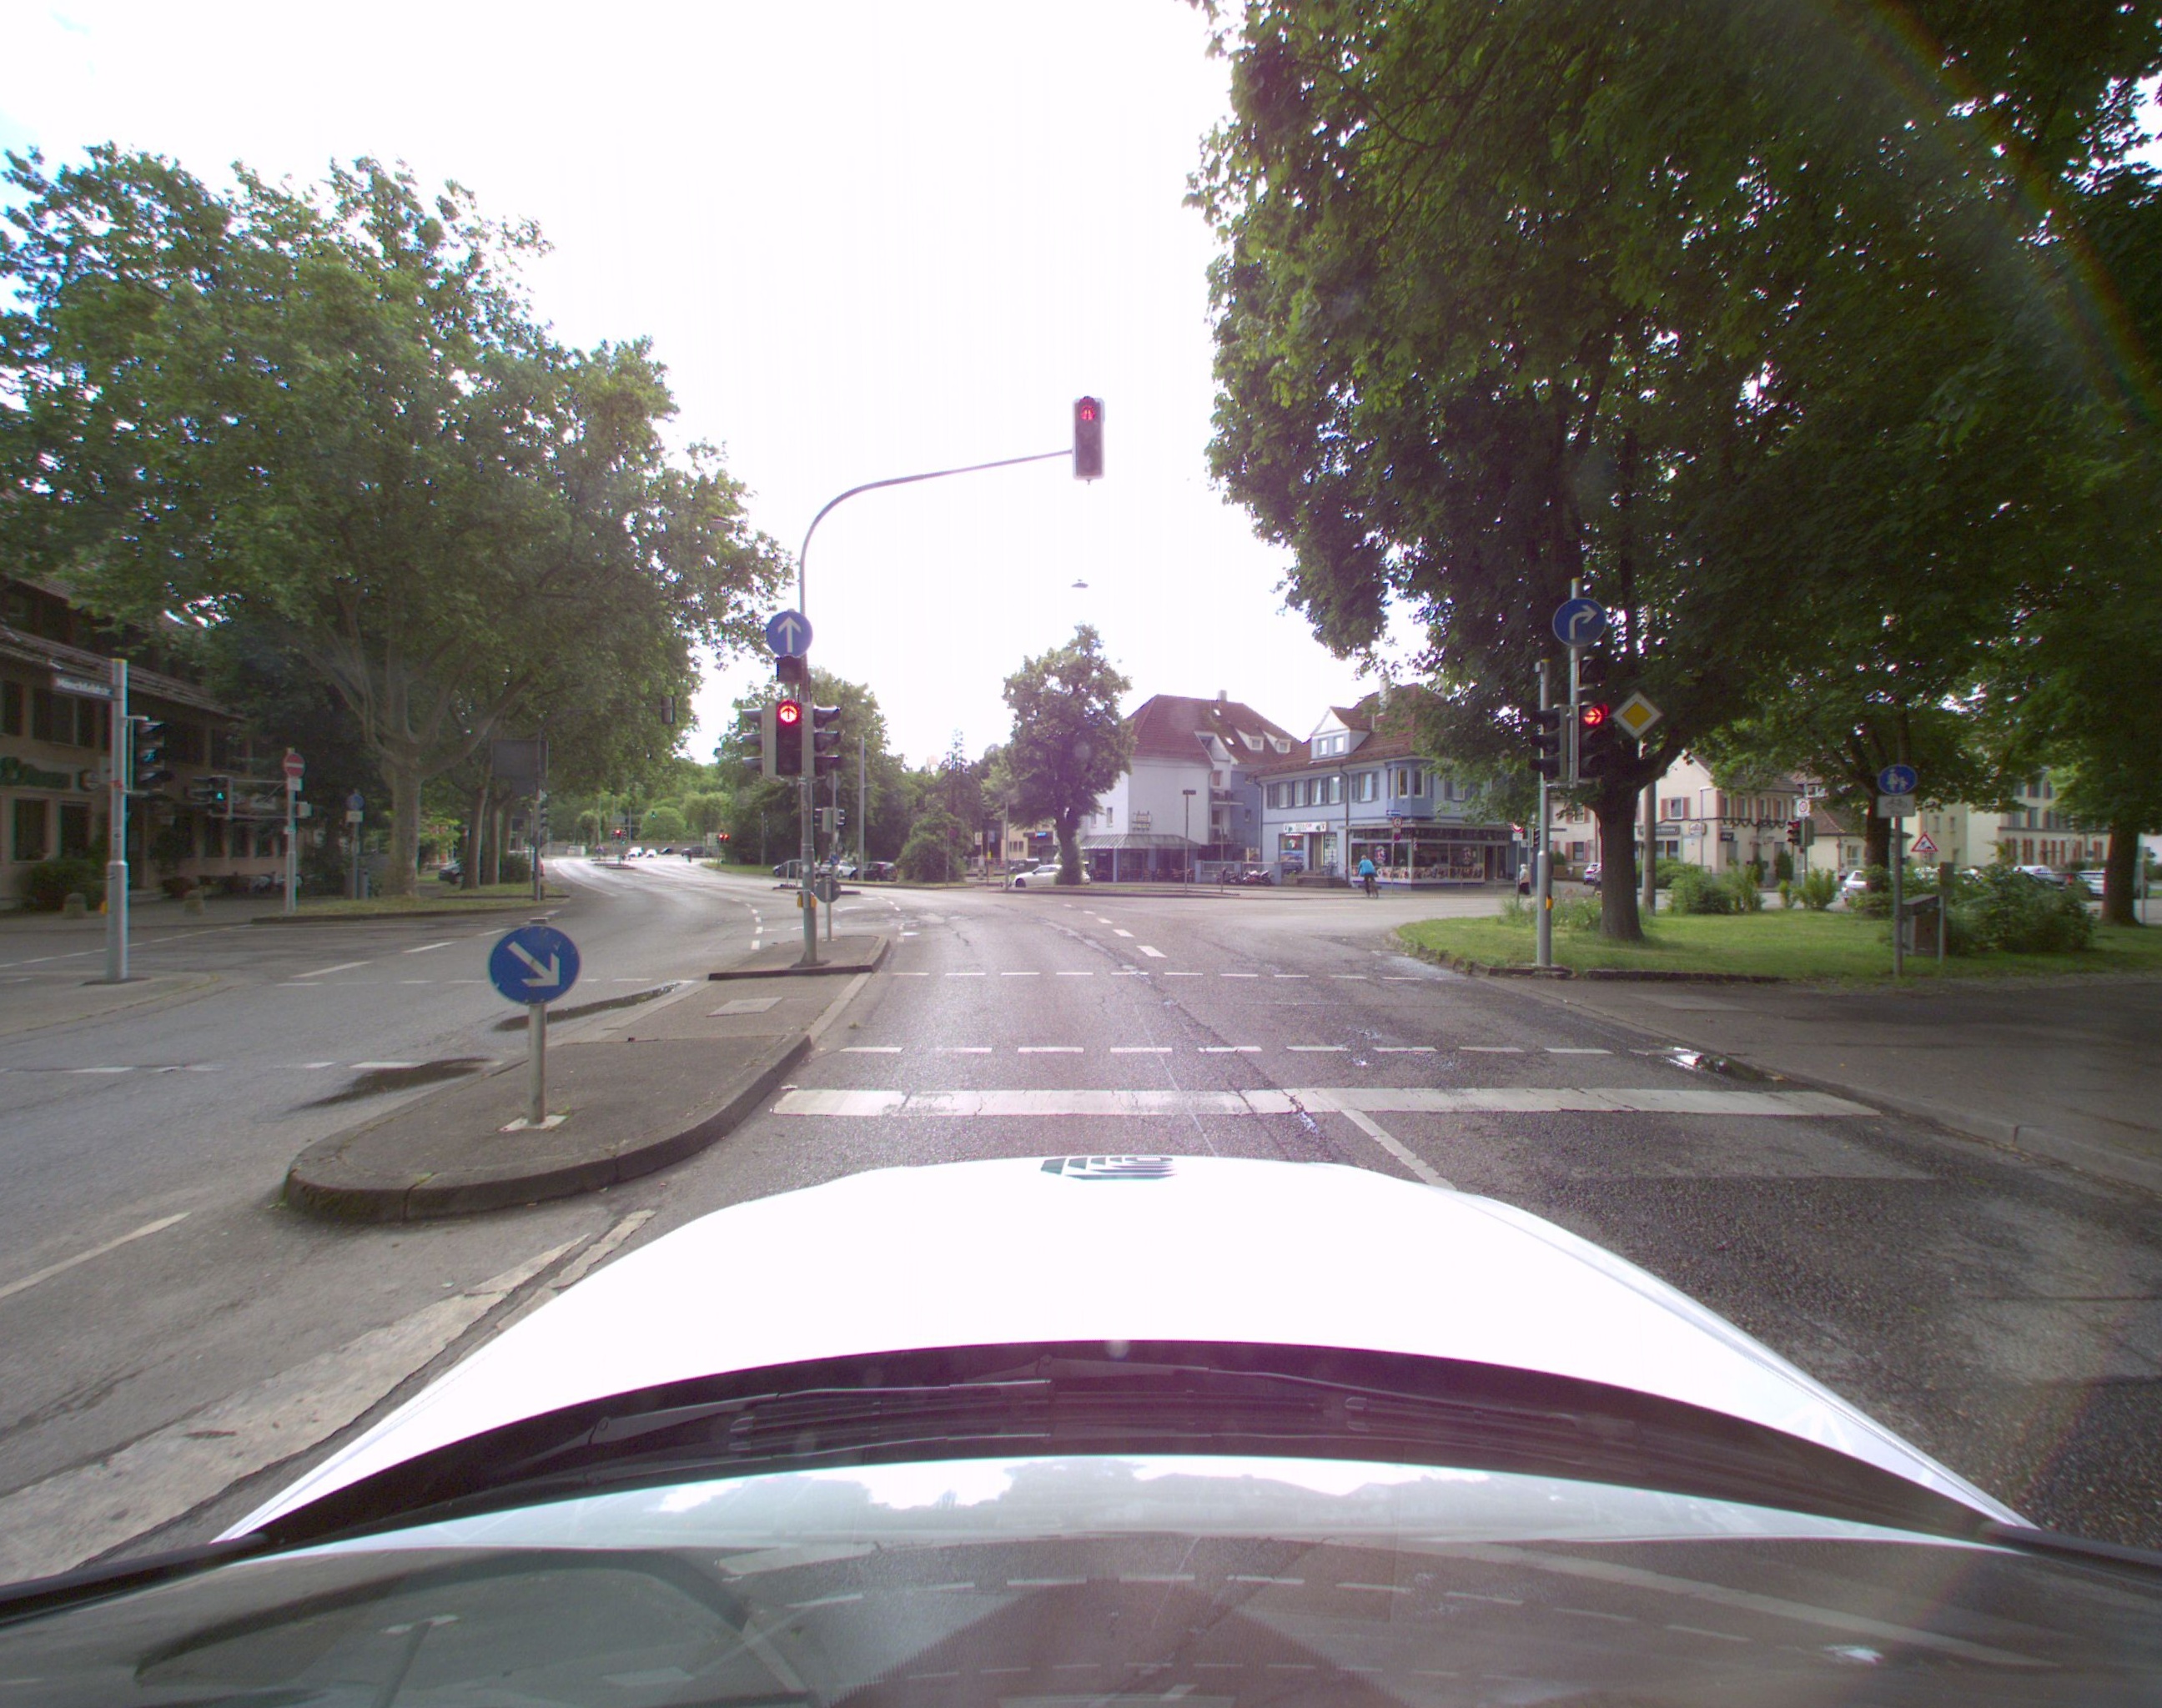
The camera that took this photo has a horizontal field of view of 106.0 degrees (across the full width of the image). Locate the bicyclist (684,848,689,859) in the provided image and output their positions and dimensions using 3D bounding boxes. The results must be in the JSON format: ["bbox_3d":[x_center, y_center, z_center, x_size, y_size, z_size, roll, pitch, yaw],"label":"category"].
[{"bbox_3d":[-48.076,-0.035,99.152,0.543,1.342,0.707,0,-1,-29],"label":"bicyclist"}]

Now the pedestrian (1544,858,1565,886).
[{"bbox_3d":[26.456,0.989,45.473,0.671,1.560,0.743,0,-1,-13],"label":"pedestrian"}]

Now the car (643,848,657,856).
[{"bbox_3d":[-83.103,-0.332,157.112,2.988,1.417,1.509,-1,-2,43],"label":"car"}]

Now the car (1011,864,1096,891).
[{"bbox_3d":[-1.593,1.290,45.934,4.654,1.410,1.914,0,-1,37],"label":"car"}]

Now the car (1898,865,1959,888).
[{"bbox_3d":[55.478,1.432,53.291,3.871,1.447,1.753,0,-1,-28],"label":"car"}]

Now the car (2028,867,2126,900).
[{"bbox_3d":[47.081,1.373,38.515,3.731,1.457,1.640,0,0,-17],"label":"car"}]

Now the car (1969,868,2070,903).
[{"bbox_3d":[42.347,1.382,36.752,3.731,1.457,1.640,0,0,-17],"label":"car"}]

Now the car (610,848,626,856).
[{"bbox_3d":[-87.046,-0.321,153.156,3.293,1.486,1.594,-1,-2,43],"label":"car"}]

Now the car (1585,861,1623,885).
[{"bbox_3d":[32.460,1.144,50.620,1.866,1.391,3.637,0,0,31],"label":"car"}]

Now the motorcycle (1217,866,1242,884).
[{"bbox_3d":[9.137,1.312,50.048,1.441,1.088,0.527,-1,-1,37],"label":"motorcycle"}]

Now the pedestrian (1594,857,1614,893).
[{"bbox_3d":[23.114,0.930,35.985,0.687,1.560,0.671,-1,-1,33],"label":"pedestrian"}]

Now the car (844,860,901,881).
[{"bbox_3d":[-13.824,1.059,54.004,3.285,1.352,1.791,0,0,29],"label":"car"}]

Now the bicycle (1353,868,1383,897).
[{"bbox_3d":[11.941,1.172,33.930,0.868,1.149,1.958,0,0,10],"label":"bicycle"}]

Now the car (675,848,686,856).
[{"bbox_3d":[-88.973,-0.454,180.833,2.005,1.596,3.963,0,-1,-28],"label":"car"}]

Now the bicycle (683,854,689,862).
[{"bbox_3d":[-48.073,0.431,99.103,0.559,0.958,2.014,0,0,-28],"label":"bicycle"}]

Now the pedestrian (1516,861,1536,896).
[{"bbox_3d":[20.372,1.104,37.277,0.724,1.560,0.773,-1,-1,33],"label":"pedestrian"}]

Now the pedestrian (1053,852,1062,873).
[{"bbox_3d":[-1.735,0.627,59.467,0.538,1.560,0.470,-1,-1,15],"label":"pedestrian"}]

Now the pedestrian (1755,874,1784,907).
[{"bbox_3d":[22.848,1.217,27.030,0.505,1.081,0.514,0,-1,-13],"label":"pedestrian"}]

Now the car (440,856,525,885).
[{"bbox_3d":[-35.628,0.961,48.611,4.015,1.684,1.979,0,-1,-34],"label":"car"}]

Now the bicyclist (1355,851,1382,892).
[{"bbox_3d":[11.910,0.706,33.735,0.909,1.651,0.992,0,-1,12],"label":"bicyclist"}]

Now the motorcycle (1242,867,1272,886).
[{"bbox_3d":[10.430,1.322,48.246,1.609,1.088,0.631,-1,-1,34],"label":"motorcycle"}]

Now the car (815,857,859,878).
[{"bbox_3d":[-20.132,1.091,67.410,1.848,1.640,3.768,0,0,13],"label":"car"}]

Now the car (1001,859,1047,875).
[{"bbox_3d":[-5.316,1.239,75.920,3.948,1.442,1.742,0,0,-18],"label":"car"}]

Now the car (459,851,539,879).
[{"bbox_3d":[-36.458,0.685,51.180,4.015,1.684,1.979,0,-1,-34],"label":"car"}]

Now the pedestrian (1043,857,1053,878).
[{"bbox_3d":[-3.297,1.336,80.952,0.838,2.014,1.051,0,-1,-12],"label":"pedestrian"}]

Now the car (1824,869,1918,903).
[{"bbox_3d":[31.935,1.269,32.920,3.007,1.267,1.455,0,-1,-17],"label":"car"}]

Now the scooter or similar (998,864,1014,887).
[{"bbox_3d":[-3.951,1.143,42.848,0.439,1.175,1.442,-1,-1,11],"label":"scooter or similar"}]

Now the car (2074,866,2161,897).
[{"bbox_3d":[52.597,1.372,41.252,3.731,1.457,1.640,0,0,-17],"label":"car"}]

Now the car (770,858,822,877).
[{"bbox_3d":[-22.586,1.032,64.519,3.742,1.465,1.629,0,0,20],"label":"car"}]
